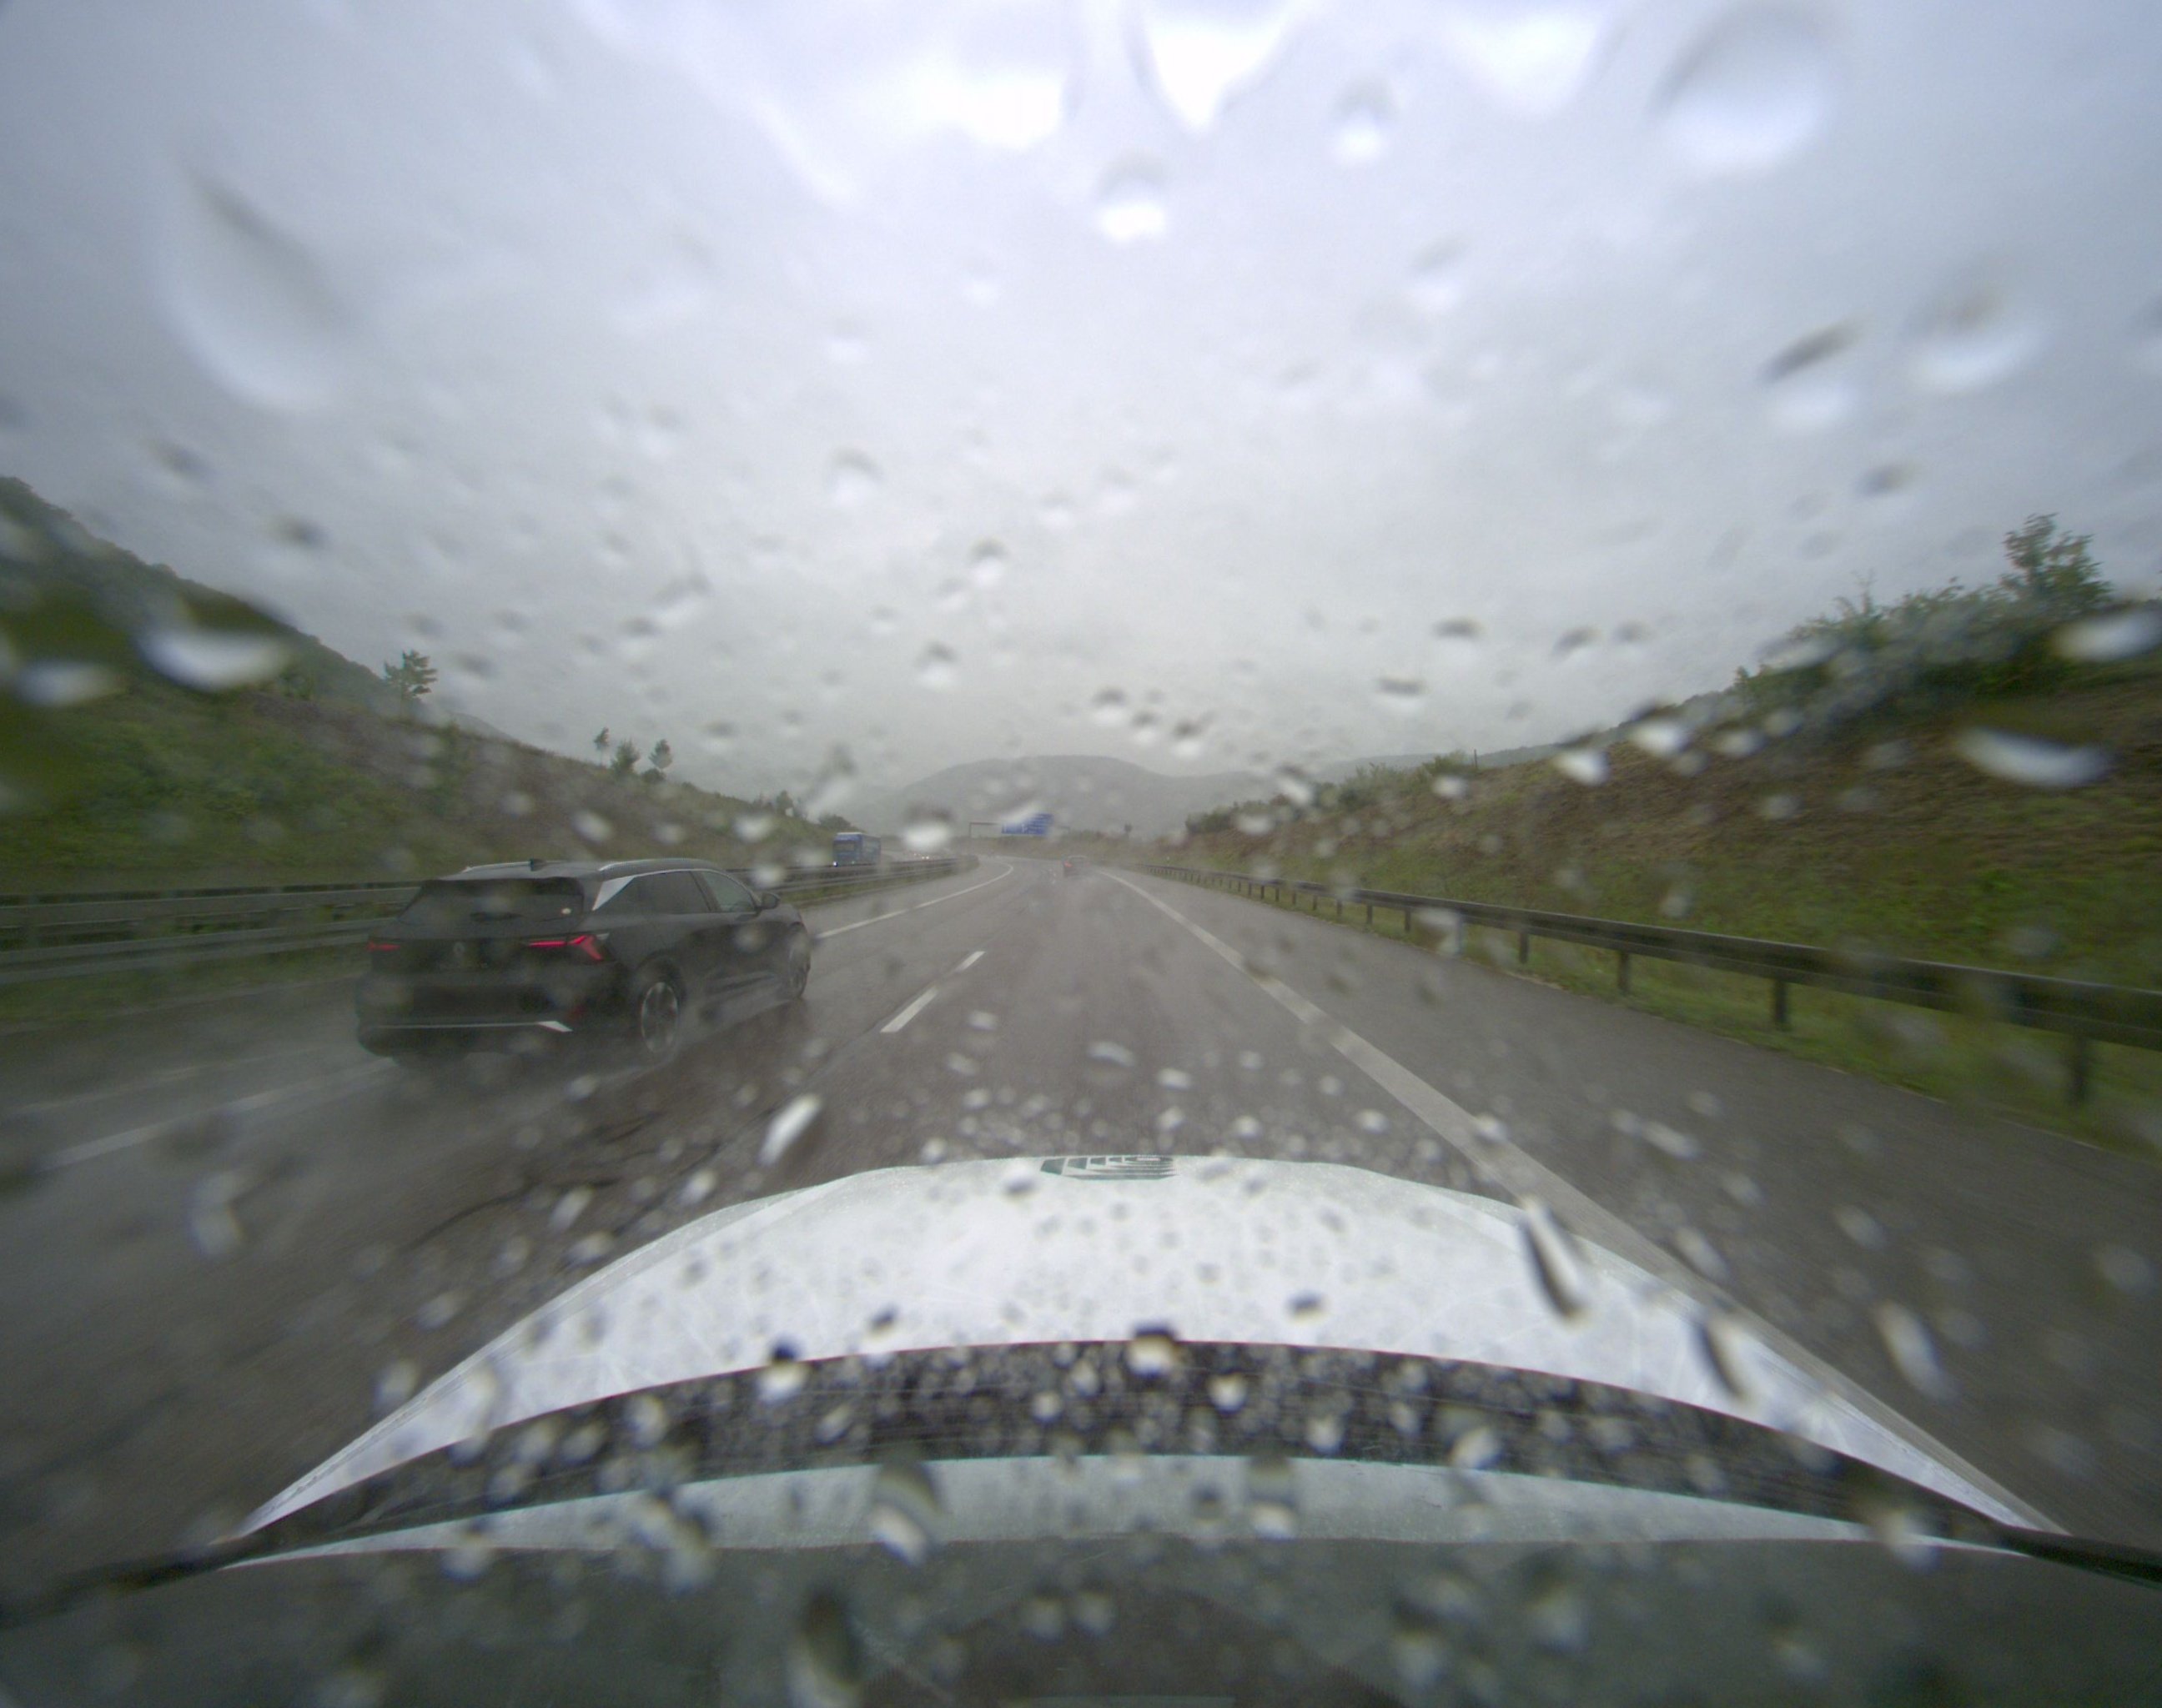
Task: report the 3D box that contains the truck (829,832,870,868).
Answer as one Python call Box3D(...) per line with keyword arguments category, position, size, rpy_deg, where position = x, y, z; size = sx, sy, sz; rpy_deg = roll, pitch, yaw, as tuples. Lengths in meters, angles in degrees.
Box3D(category="truck", position=(-24.458, -0.405, 86.436), size=(2.774, 3.683, 6.201), rpy_deg=(-1, 0, -3))

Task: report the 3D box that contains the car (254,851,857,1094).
Box3D(category="car", position=(-3.942, 0.749, 7.488), size=(2.398, 1.515, 4.783), rpy_deg=(0, 0, 0))

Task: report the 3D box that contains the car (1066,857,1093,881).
Box3D(category="car", position=(-0.100, 0.921, 52.710), size=(1.674, 1.472, 3.813), rpy_deg=(0, 0, 0))

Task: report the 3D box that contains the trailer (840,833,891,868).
Box3D(category="trailer", position=(-24.771, -0.346, 94.304), size=(2.806, 3.681, 13.235), rpy_deg=(-1, 0, -2))
